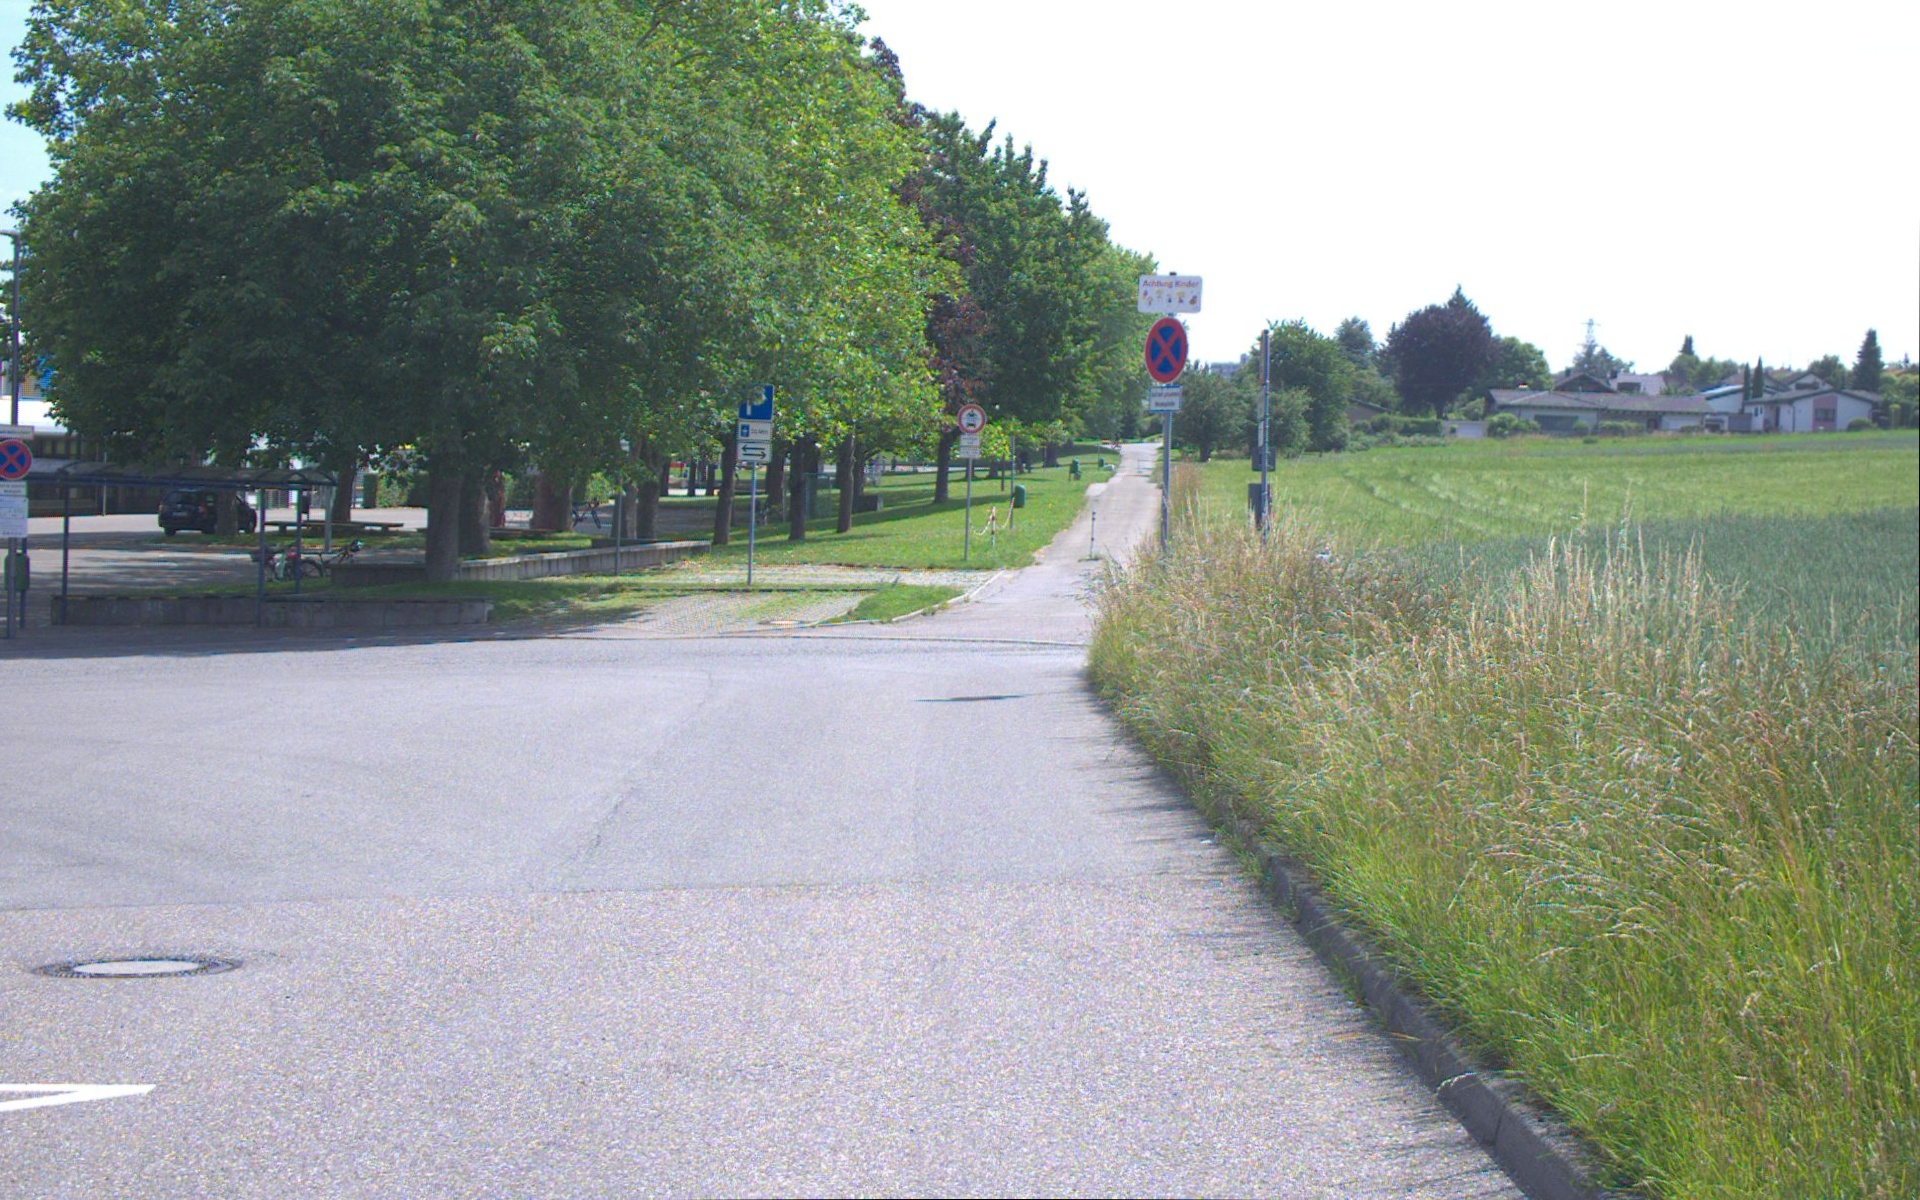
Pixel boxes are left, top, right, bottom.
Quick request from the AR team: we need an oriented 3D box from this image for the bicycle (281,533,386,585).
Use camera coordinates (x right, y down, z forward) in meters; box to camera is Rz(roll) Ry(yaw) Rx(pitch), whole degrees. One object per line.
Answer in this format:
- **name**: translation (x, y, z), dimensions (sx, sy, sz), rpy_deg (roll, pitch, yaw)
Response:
- **bicycle**: translation (-12.872, -0.852, 70.656), dimensions (2.062, 1.035, 0.572), rpy_deg (-1, 2, -5)

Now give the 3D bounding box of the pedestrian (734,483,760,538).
- **pedestrian**: translation (-7.866, -3.297, 126.927), dimensions (0.682, 2.006, 0.803), rpy_deg (0, 2, -30)

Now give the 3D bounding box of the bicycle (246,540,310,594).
- **bicycle**: translation (-13.631, -0.668, 68.727), dimensions (0.595, 1.035, 1.892), rpy_deg (0, 2, 10)

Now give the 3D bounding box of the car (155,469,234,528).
- **car**: translation (-24.007, -3.192, 107.951), dimensions (1.691, 1.828, 3.411), rpy_deg (0, 2, 1)
